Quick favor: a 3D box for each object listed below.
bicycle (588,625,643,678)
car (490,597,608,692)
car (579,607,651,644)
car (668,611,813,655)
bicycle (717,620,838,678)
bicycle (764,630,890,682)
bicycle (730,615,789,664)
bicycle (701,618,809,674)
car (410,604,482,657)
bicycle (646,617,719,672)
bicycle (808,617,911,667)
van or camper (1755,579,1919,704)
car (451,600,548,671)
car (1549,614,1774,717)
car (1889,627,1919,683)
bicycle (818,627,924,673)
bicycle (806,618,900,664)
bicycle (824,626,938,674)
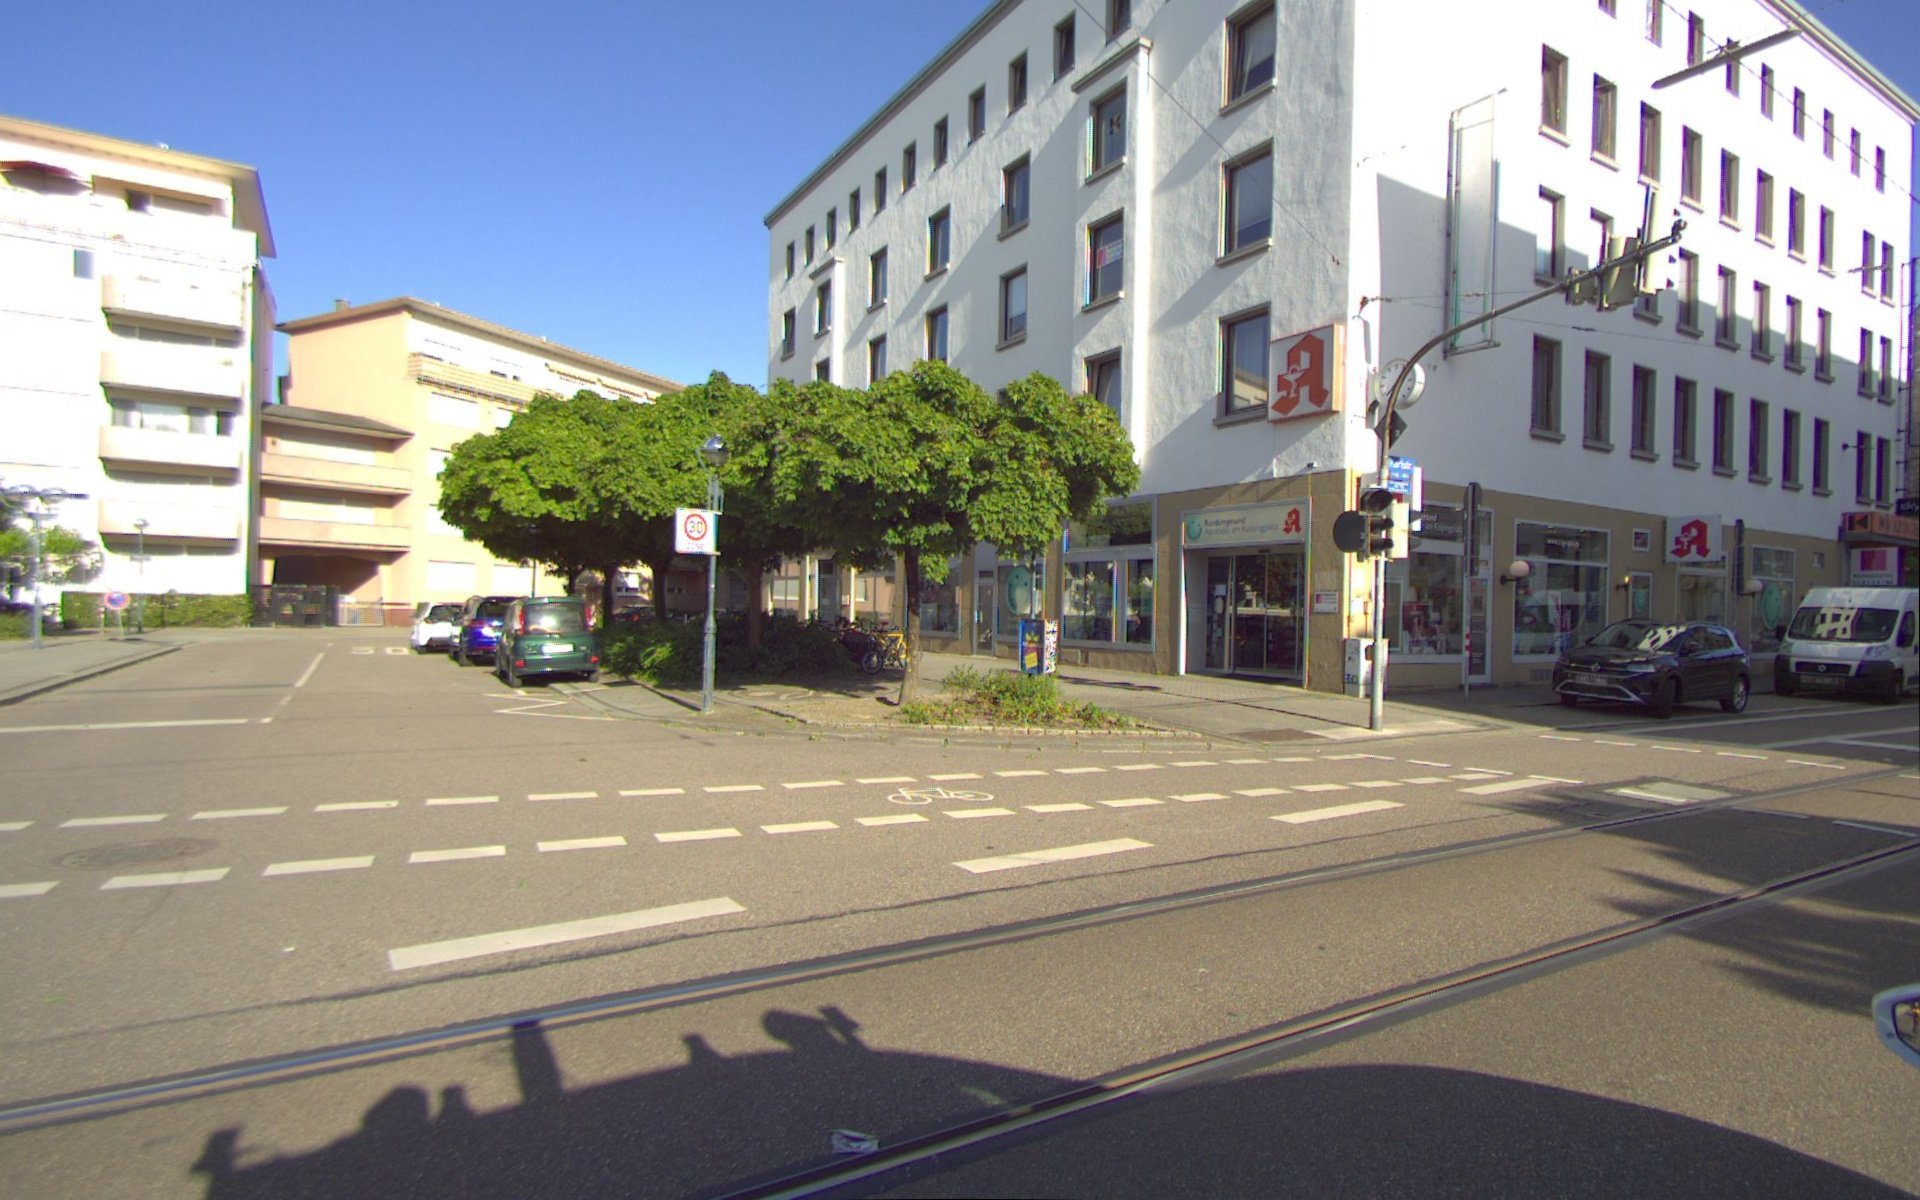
[{"bbox_3d":[-7.529,1.089,21.876,0.621,1.026,2.417,1,-1,-31],"label":"bicycle"},{"bbox_3d":[-8.395,0.825,20.325,1.658,1.733,3.960,1,-1,-30],"label":"car"},{"bbox_3d":[-15.813,1.134,46.264,1.756,1.606,4.370,1,-1,1],"label":"car"},{"bbox_3d":[-6.650,1.009,30.546,3.955,1.247,1.723,2,-1,-31],"label":"car"},{"bbox_3d":[-3.783,1.011,20.974,2.410,1.140,0.623,2,-1,-32],"label":"bicycle"},{"bbox_3d":[-2.730,1.139,20.763,2.464,1.000,0.749,2,-1,-30],"label":"bicycle"},{"bbox_3d":[-4.915,0.951,24.783,0.615,1.140,2.439,1,-1,8],"label":"bicycle"},{"bbox_3d":[-4.542,0.994,22.227,2.390,1.140,0.628,1,0,23],"label":"bicycle"},{"bbox_3d":[-15.428,0.881,30.057,1.604,1.469,3.958,1,-1,-31],"label":"car"},{"bbox_3d":[-6.119,0.947,22.286,0.615,1.140,2.439,1,-1,8],"label":"bicycle"},{"bbox_3d":[-2.367,1.001,23.840,2.410,1.140,0.623,2,-1,-32],"label":"bicycle"},{"bbox_3d":[20.808,0.891,22.950,6.164,2.500,2.159,2,1,-32],"label":"van or camper"},{"bbox_3d":[-11.651,0.841,25.278,1.739,1.638,3.958,1,-1,-31],"label":"car"},{"bbox_3d":[12.555,1.117,17.944,3.946,1.573,1.774,2,1,-30],"label":"car"},{"bbox_3d":[26.715,1.495,26.672,4.393,1.417,1.774,2,1,-30],"label":"car"},{"bbox_3d":[-2.029,1.137,23.168,2.410,1.000,0.623,2,-1,-32],"label":"bicycle"},{"bbox_3d":[-2.766,1.067,26.184,2.413,1.140,0.622,2,-1,-36],"label":"bicycle"},{"bbox_3d":[-1.742,1.102,22.423,2.465,1.000,0.749,2,-1,-32],"label":"bicycle"}]
